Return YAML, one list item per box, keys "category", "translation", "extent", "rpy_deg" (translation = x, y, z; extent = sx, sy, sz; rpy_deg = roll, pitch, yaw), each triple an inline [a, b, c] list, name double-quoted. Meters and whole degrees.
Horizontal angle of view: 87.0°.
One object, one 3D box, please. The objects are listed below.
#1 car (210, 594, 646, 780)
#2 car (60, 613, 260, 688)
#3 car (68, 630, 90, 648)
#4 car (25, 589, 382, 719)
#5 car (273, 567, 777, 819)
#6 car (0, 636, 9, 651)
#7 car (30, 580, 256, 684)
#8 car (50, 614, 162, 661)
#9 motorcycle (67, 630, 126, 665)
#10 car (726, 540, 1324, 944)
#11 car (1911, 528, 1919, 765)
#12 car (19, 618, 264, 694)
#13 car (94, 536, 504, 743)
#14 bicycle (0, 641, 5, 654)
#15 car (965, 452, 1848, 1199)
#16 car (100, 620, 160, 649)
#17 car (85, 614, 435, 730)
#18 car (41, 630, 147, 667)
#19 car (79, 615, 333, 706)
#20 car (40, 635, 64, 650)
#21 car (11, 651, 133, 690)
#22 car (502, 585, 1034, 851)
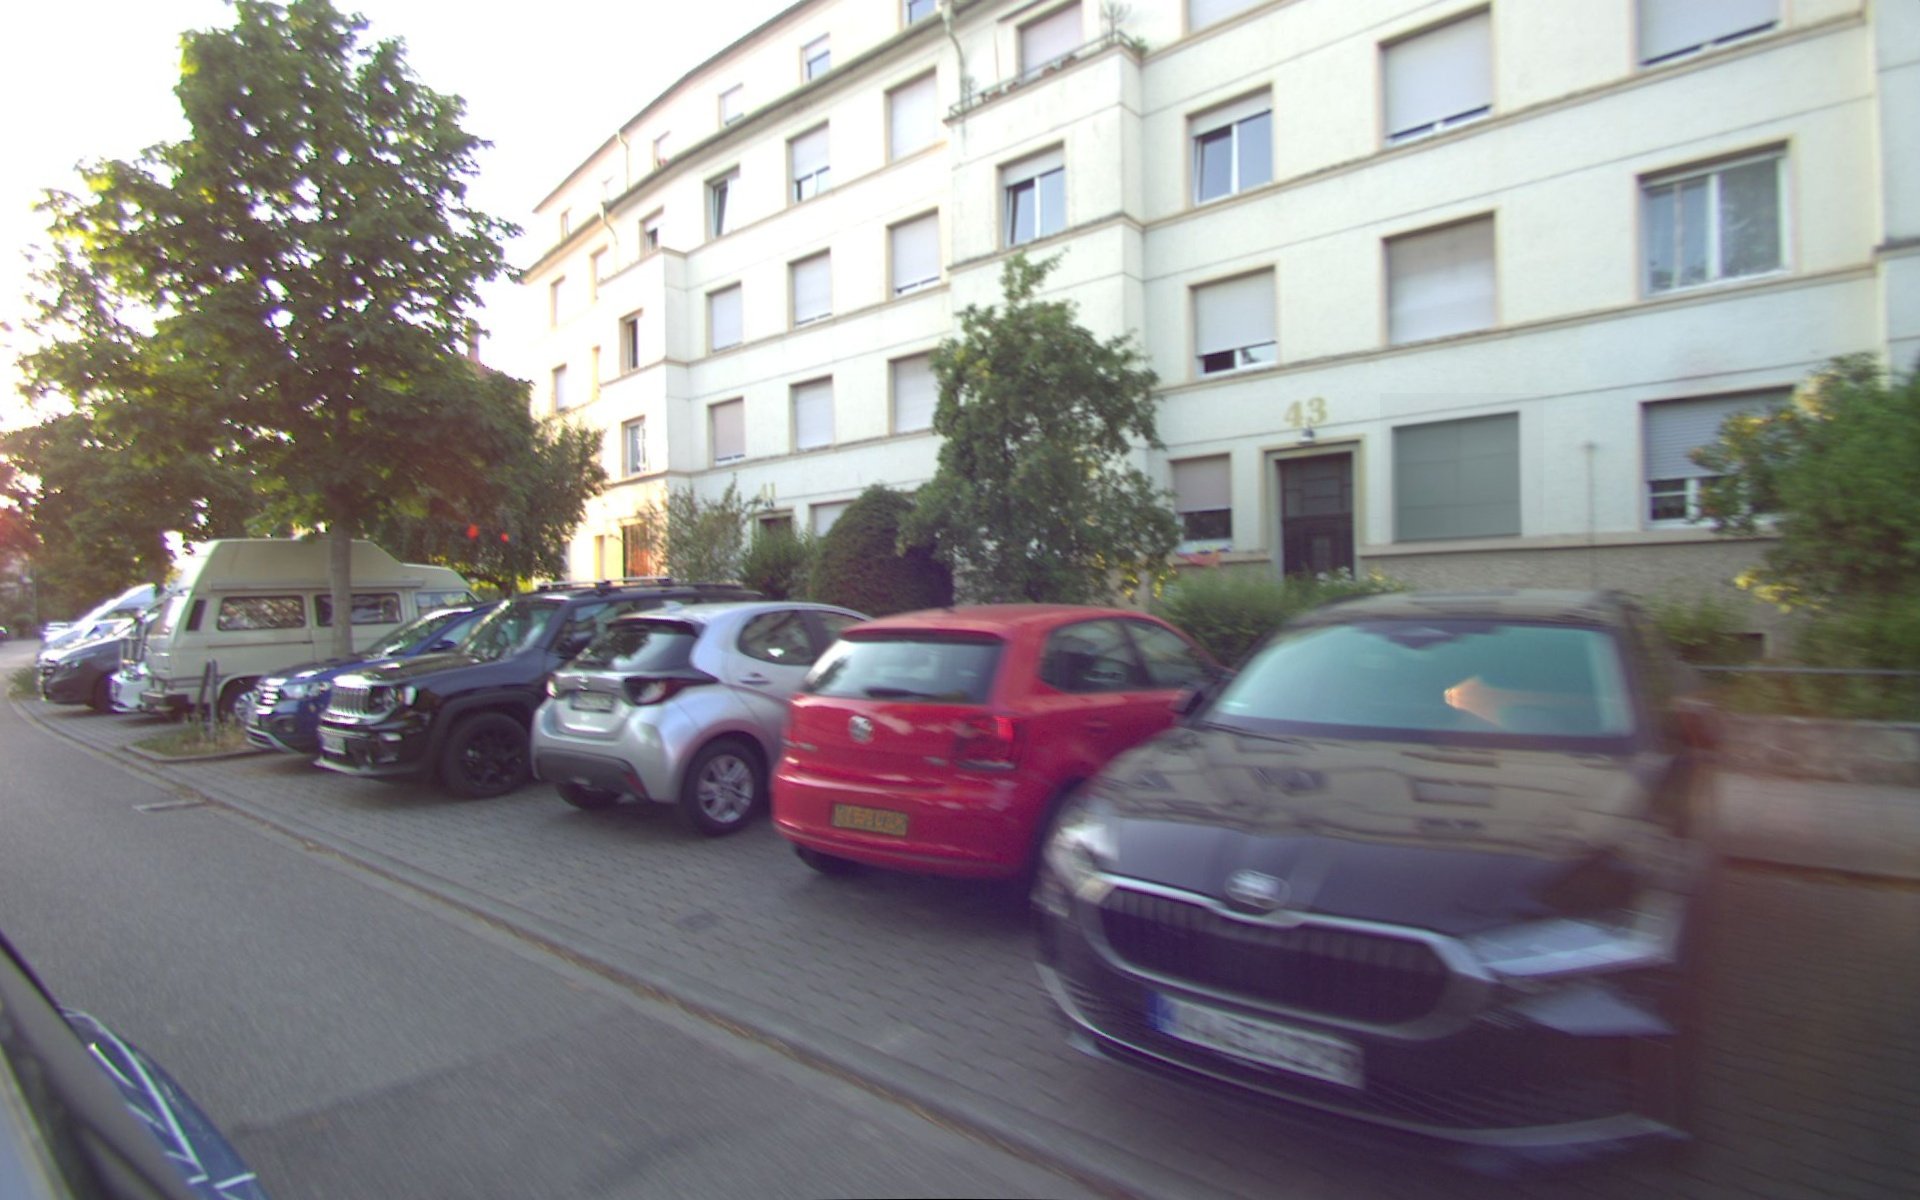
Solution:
- category: "car"
  translation: [-5.632, 0.789, 11.018]
  extent: [1.786, 1.607, 3.818]
  rpy_deg: [-2, -1, 43]
- category: "car"
  translation: [-20.043, 1.218, 25.457]
  extent: [3.760, 1.534, 1.654]
  rpy_deg: [-4, 1, -44]
- category: "car"
  translation: [-109.632, 4.835, 125.970]
  extent: [1.969, 2.029, 4.006]
  rpy_deg: [-1, -1, -40]
- category: "car"
  translation: [-12.861, 0.814, 17.456]
  extent: [2.000, 1.888, 4.623]
  rpy_deg: [-2, 0, 42]
- category: "car"
  translation: [-3.755, 0.656, 9.283]
  extent: [1.840, 1.790, 3.824]
  rpy_deg: [-2, 0, 37]
- category: "car"
  translation: [-97.899, 4.426, 102.665]
  extent: [1.773, 1.535, 4.006]
  rpy_deg: [-1, 0, -40]
- category: "car"
  translation: [-22.420, 0.808, 27.884]
  extent: [4.676, 2.589, 2.002]
  rpy_deg: [-1, -1, -44]
- category: "car"
  translation: [-46.484, 2.037, 55.236]
  extent: [4.454, 2.085, 2.004]
  rpy_deg: [-5, 0, -37]
- category: "motorcycle"
  translation: [-39.152, 2.144, 45.877]
  extent: [0.722, 1.447, 1.963]
  rpy_deg: [-2, -1, 45]
- category: "car"
  translation: [0.710, 0.555, 6.112]
  extent: [1.728, 1.595, 3.951]
  rpy_deg: [-2, 0, 36]
- category: "car"
  translation: [4.010, 0.470, 2.568]
  extent: [1.798, 1.590, 3.951]
  rpy_deg: [-2, 0, 36]
- category: "car"
  translation: [-18.525, 1.207, 23.060]
  extent: [4.193, 1.404, 1.686]
  rpy_deg: [-2, 0, -42]
- category: "car"
  translation: [-9.120, 0.453, 14.281]
  extent: [1.999, 2.449, 4.455]
  rpy_deg: [-2, -1, 41]
- category: "bicycle"
  translation: [-82.365, 4.079, 86.900]
  extent: [0.352, 1.108, 1.975]
  rpy_deg: [-1, -1, -40]
- category: "car"
  translation: [2.079, 0.547, 4.128]
  extent: [1.896, 1.627, 4.367]
  rpy_deg: [-2, 0, 36]
- category: "car"
  translation: [-79.590, 3.304, 97.091]
  extent: [4.345, 2.576, 1.936]
  rpy_deg: [-2, -1, -38]
- category: "car"
  translation: [-10.750, 1.013, 15.755]
  extent: [2.000, 1.436, 4.130]
  rpy_deg: [-2, 0, 42]
- category: "car"
  translation: [-40.239, 2.216, 47.129]
  extent: [3.666, 1.517, 1.693]
  rpy_deg: [-2, 0, -39]
- category: "car"
  translation: [-14.562, 1.098, 19.677]
  extent: [1.656, 1.450, 3.727]
  rpy_deg: [-2, 0, 43]
- category: "car"
  translation: [-94.221, 4.401, 105.055]
  extent: [1.707, 1.386, 3.769]
  rpy_deg: [-1, 0, -40]
- category: "car"
  translation: [-42.732, 3.375, 48.846]
  extent: [4.272, 1.416, 1.855]
  rpy_deg: [-4, 1, -39]
- category: "car"
  translation: [-1.258, 0.689, 8.026]
  extent: [1.787, 1.536, 3.949]
  rpy_deg: [-2, 0, 38]
